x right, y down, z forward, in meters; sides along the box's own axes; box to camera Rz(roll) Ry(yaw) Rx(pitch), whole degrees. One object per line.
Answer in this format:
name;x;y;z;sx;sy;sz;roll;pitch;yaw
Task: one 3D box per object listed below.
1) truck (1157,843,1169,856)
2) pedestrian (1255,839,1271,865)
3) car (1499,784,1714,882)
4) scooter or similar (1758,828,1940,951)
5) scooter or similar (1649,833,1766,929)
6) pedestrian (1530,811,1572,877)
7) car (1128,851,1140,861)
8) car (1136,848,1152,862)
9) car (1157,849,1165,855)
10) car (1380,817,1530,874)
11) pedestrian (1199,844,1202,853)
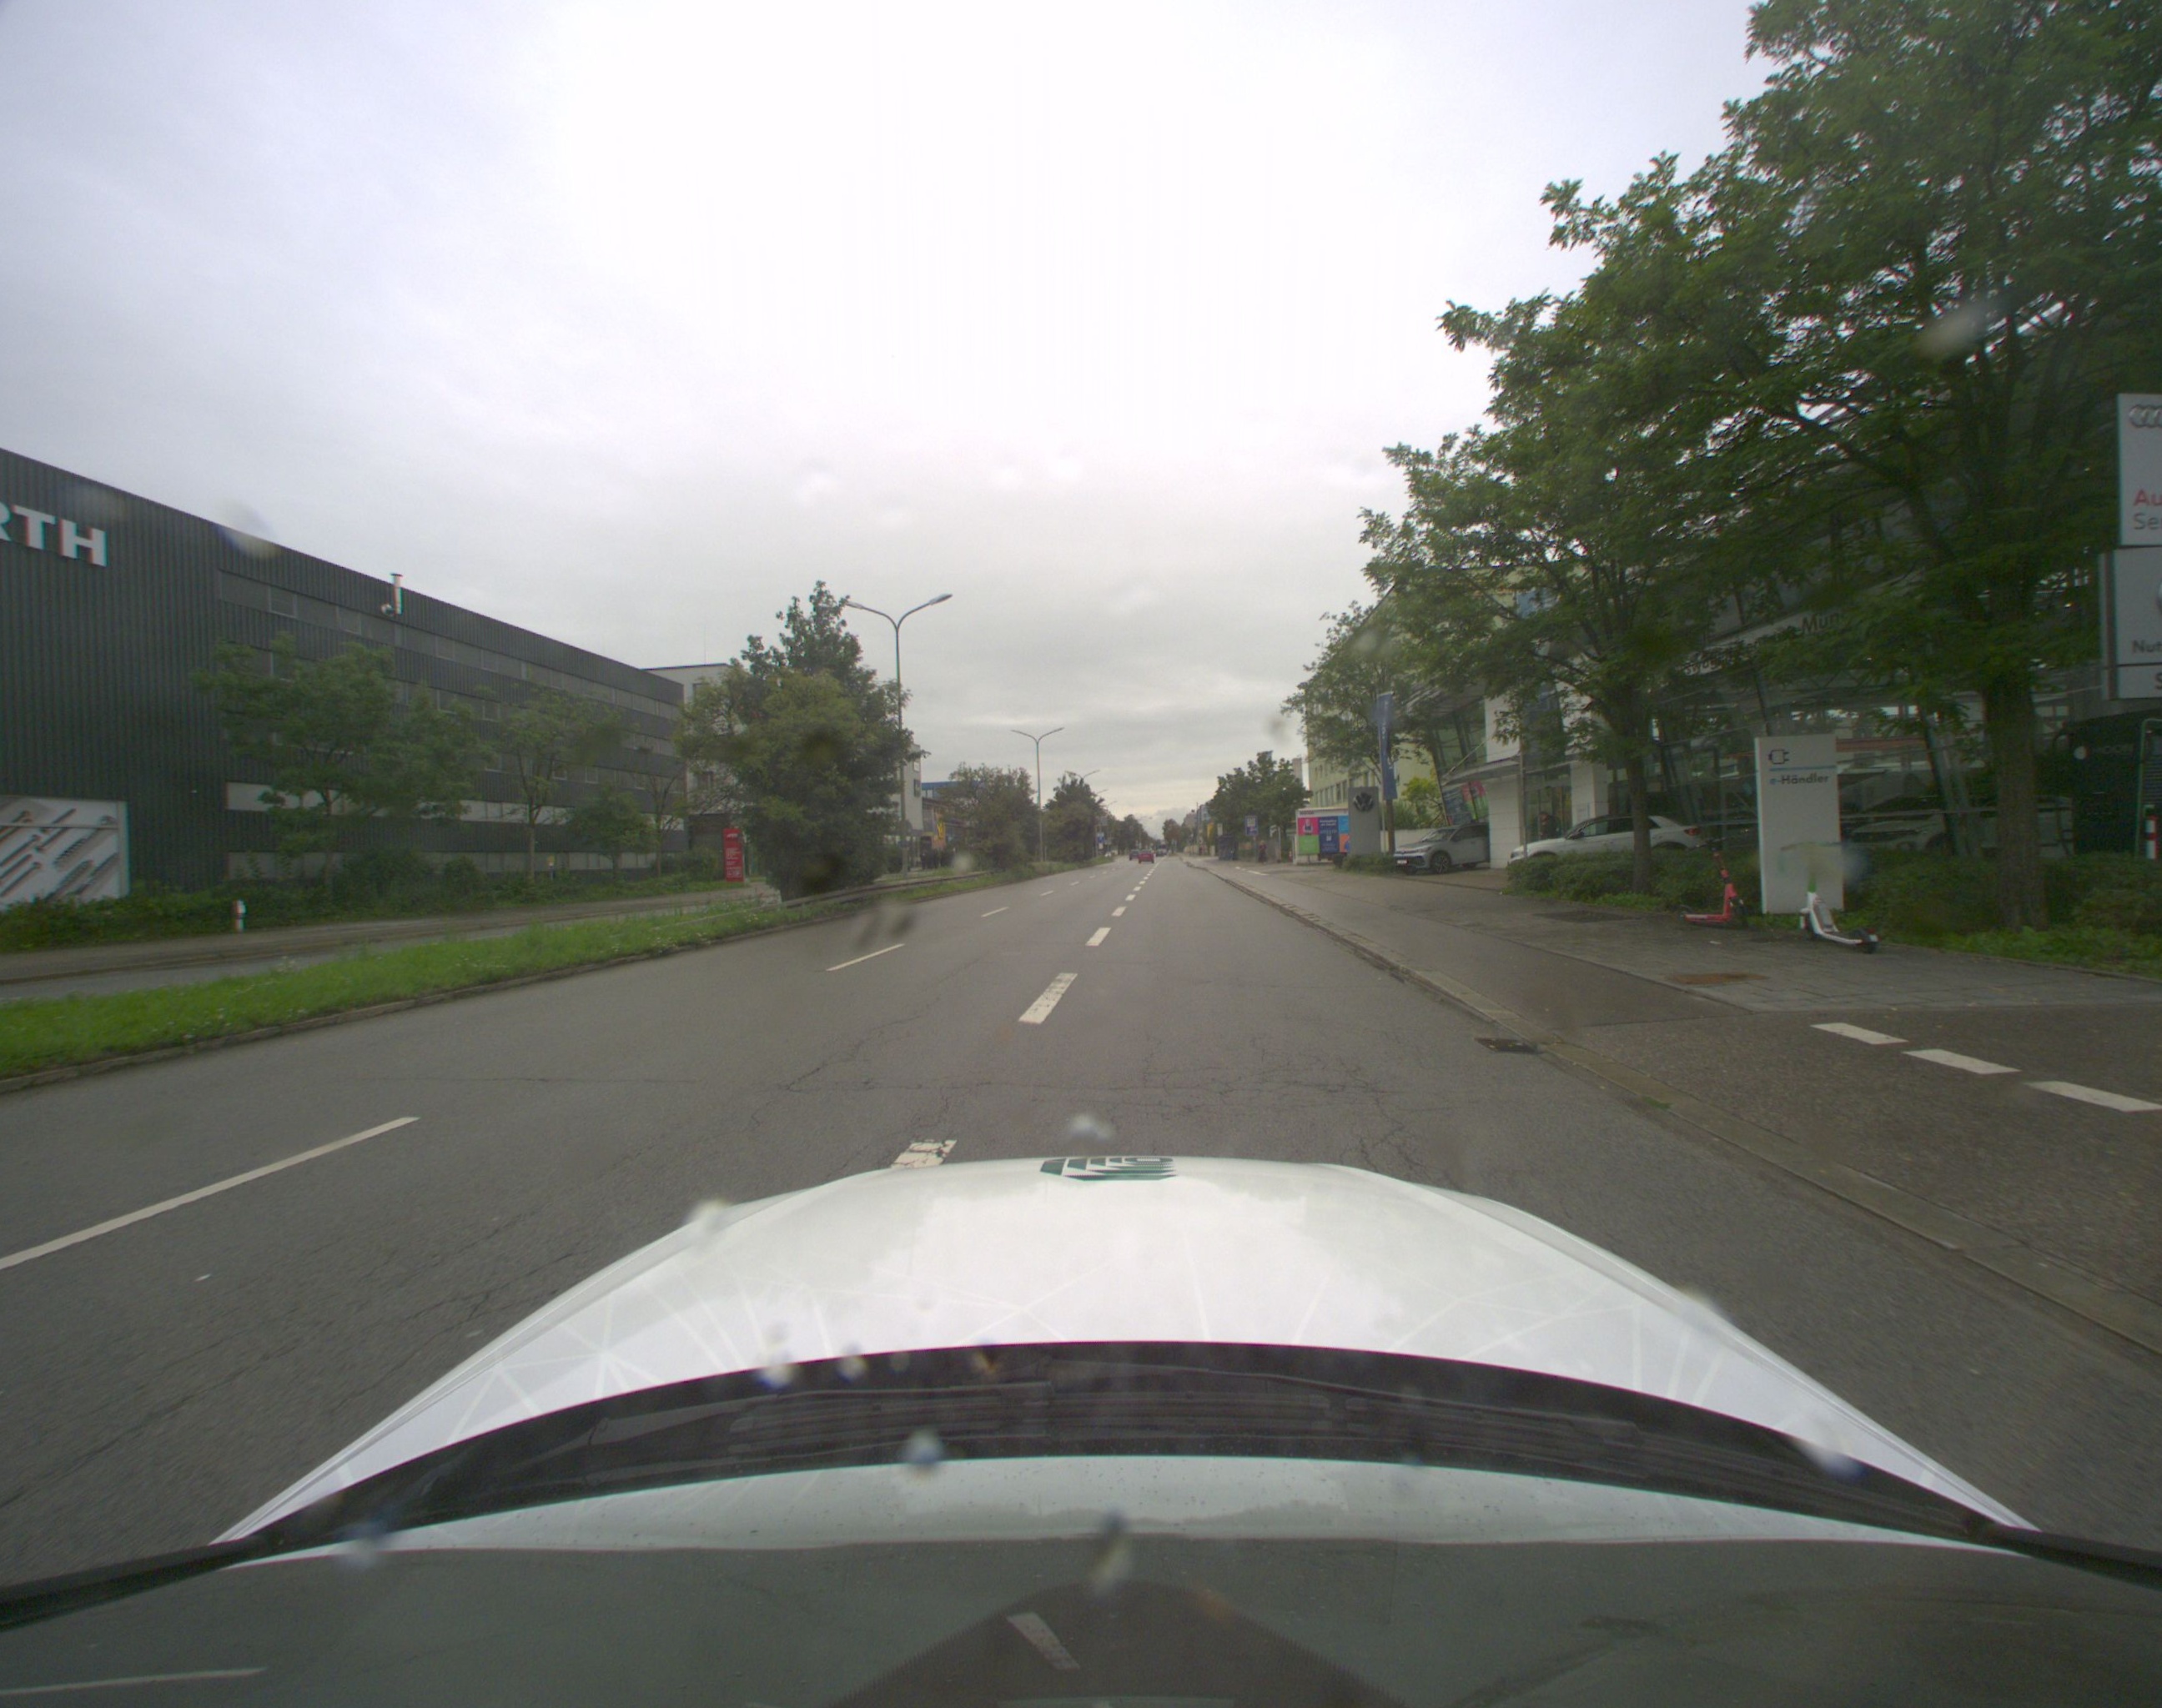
truck;22.720;-1.223;226.292;2.955;3.285;7.925;-2;0;4
pedestrian;12.616;-0.168;56.506;0.755;1.728;0.896;-6;0;3
car;12.988;-0.466;20.435;4.206;2.013;1.975;-5;-1;30
scooter or similar;8.401;0.372;8.989;0.495;1.204;1.428;-5;-1;-4
scooter or similar;8.600;0.337;11.247;0.494;1.204;1.431;-5;1;3
pedestrian;12.957;-0.262;22.461;0.810;1.776;0.708;-2;0;-39
car;8.418;0.316;128.310;1.795;1.432;4.005;-2;0;4
car;7.517;0.138;97.471;1.854;1.618;4.004;-2;0;4
car;17.506;-0.431;178.215;1.795;1.432;4.005;-2;0;4
car;13.416;-0.298;29.288;4.598;1.706;1.997;-4;-1;-15
pedestrian;20.806;-0.969;142.013;0.481;1.636;0.591;-2;0;4
